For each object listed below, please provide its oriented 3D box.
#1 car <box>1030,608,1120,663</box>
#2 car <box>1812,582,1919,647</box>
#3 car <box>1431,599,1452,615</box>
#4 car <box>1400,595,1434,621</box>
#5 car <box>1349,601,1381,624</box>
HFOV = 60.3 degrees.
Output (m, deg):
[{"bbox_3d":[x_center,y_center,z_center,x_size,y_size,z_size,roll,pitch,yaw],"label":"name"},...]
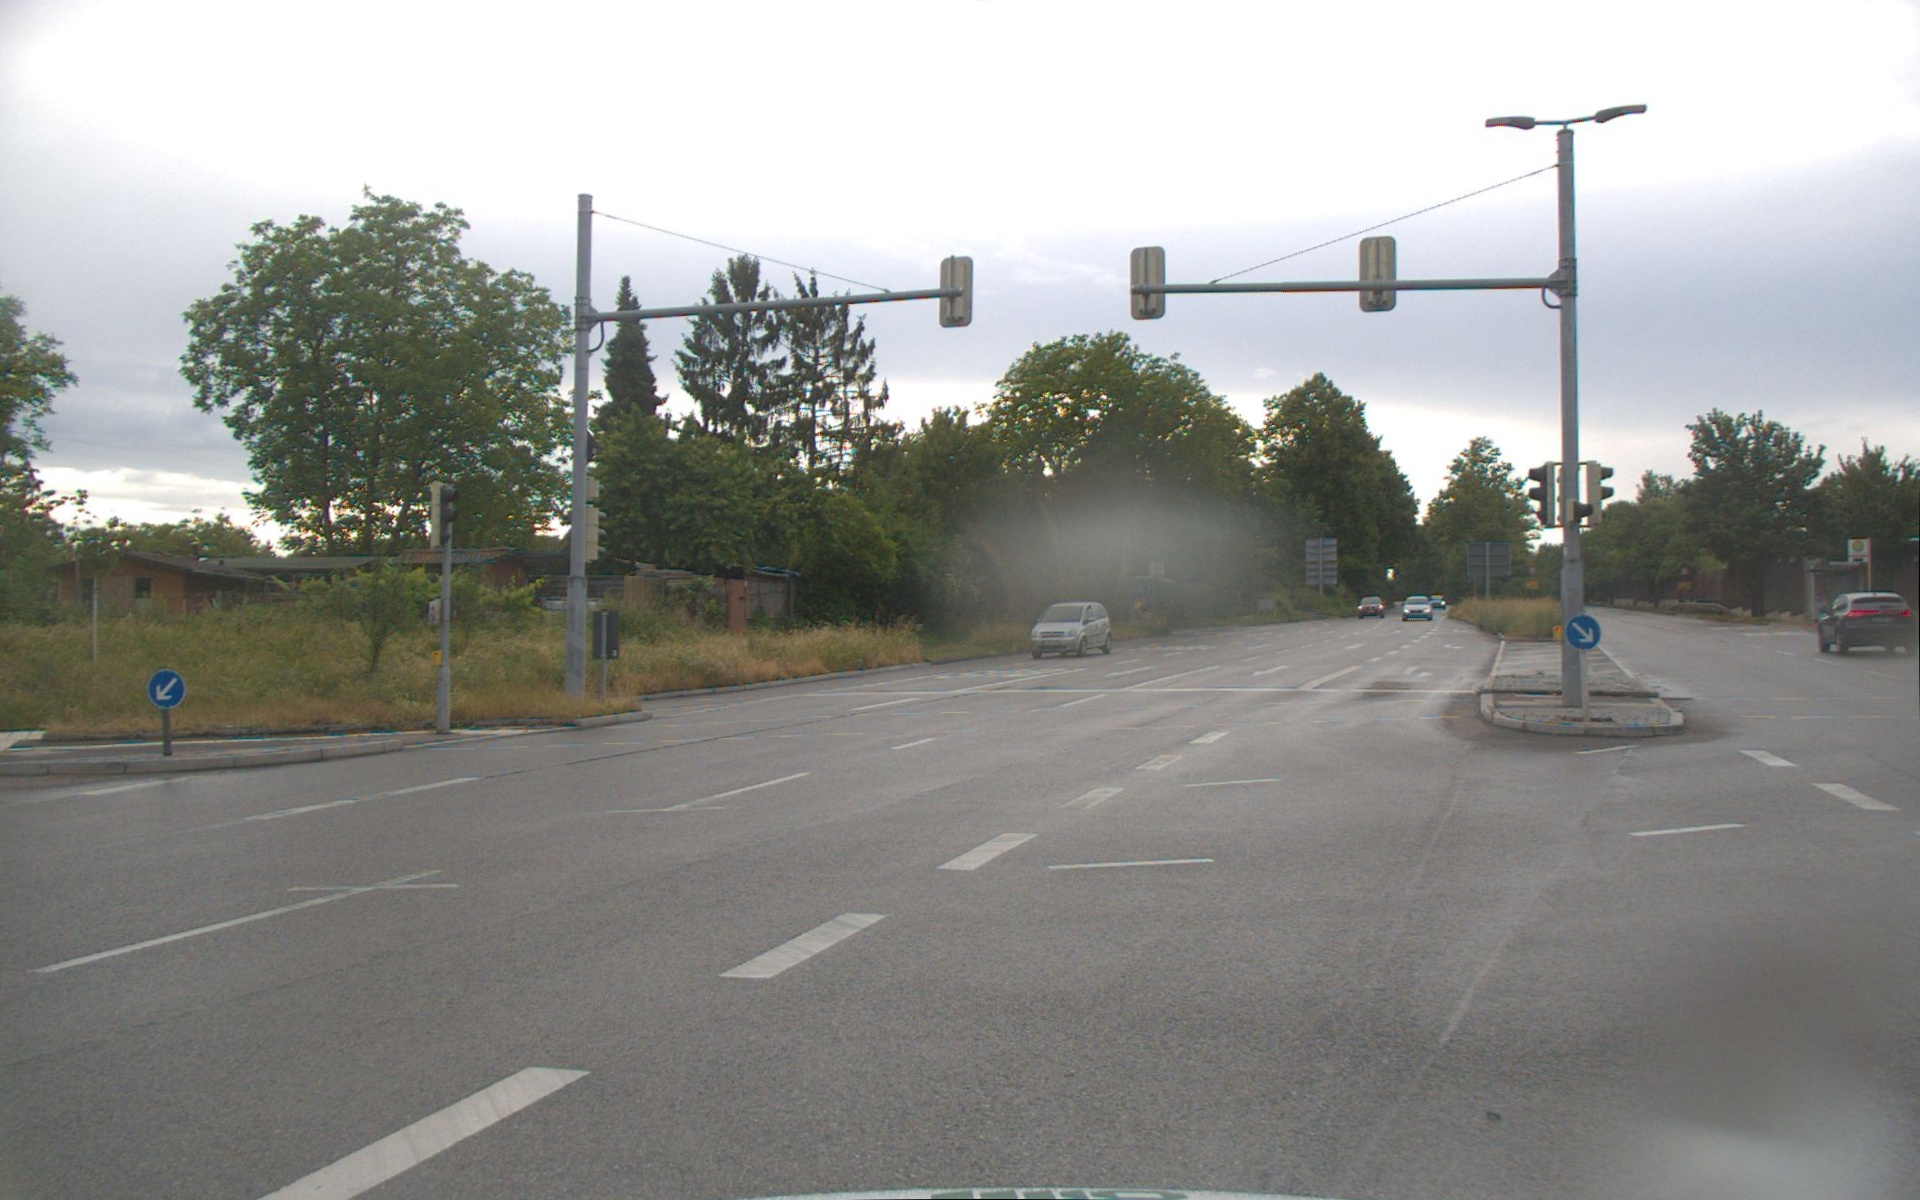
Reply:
[{"bbox_3d":[3.617,1.066,51.311,1.731,1.624,4.491,-1,0,18],"label":"car"},{"bbox_3d":[22.409,0.350,40.954,1.708,1.496,4.167,-1,0,18],"label":"car"},{"bbox_3d":[50.754,0.699,174.288,1.854,1.624,4.491,-1,0,18],"label":"car"},{"bbox_3d":[28.522,0.495,103.150,1.854,1.561,4.491,-1,0,18],"label":"car"},{"bbox_3d":[28.880,0.883,117.901,1.854,1.624,4.491,-1,0,18],"label":"car"}]
